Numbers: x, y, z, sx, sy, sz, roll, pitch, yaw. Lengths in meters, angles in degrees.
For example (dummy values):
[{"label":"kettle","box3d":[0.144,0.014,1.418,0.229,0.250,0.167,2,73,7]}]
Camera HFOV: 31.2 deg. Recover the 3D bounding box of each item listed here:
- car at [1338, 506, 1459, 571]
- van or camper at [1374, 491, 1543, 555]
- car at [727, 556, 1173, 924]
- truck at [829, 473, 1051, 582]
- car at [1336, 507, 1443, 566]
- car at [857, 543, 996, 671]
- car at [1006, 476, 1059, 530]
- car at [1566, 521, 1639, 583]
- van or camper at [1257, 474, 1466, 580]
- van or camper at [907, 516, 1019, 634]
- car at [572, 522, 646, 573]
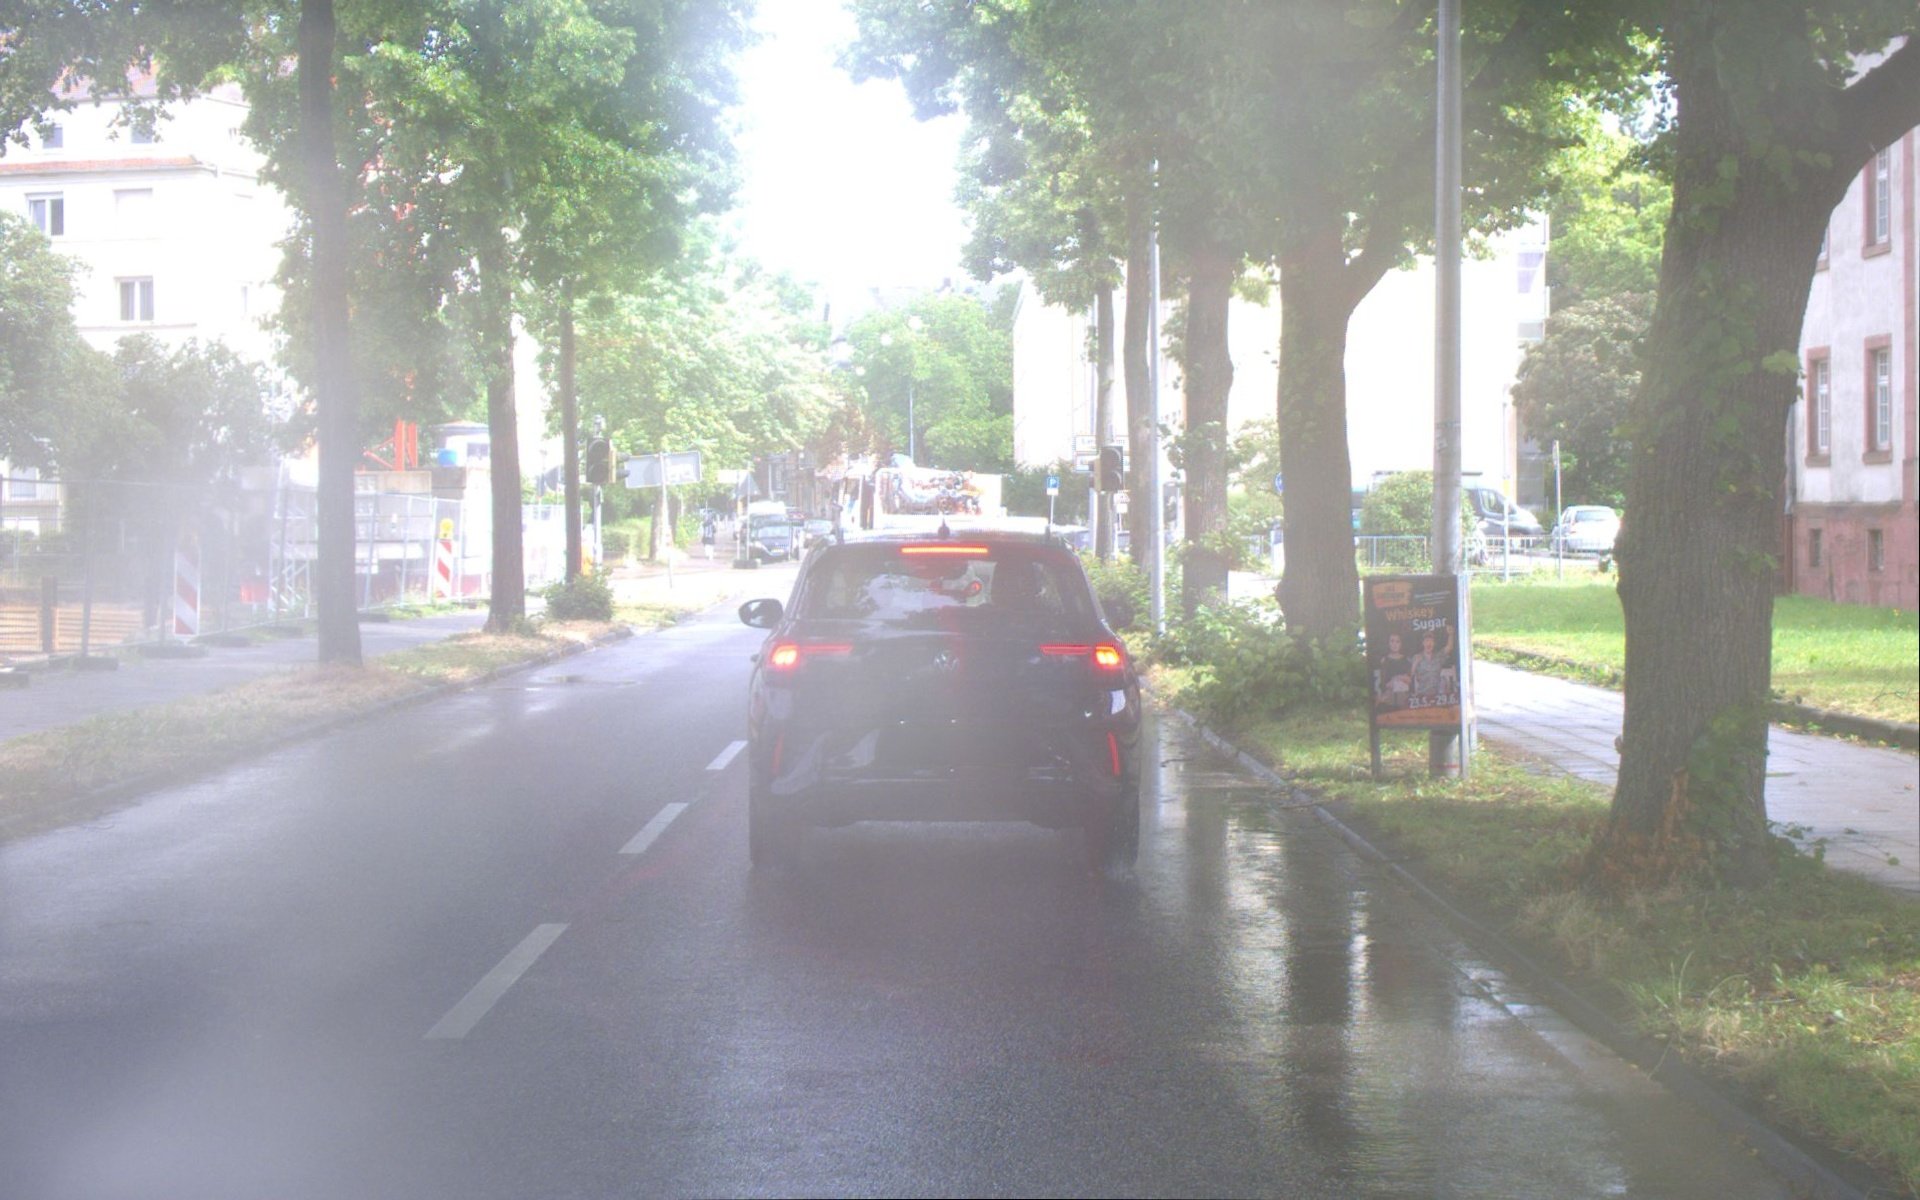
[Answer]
[{"label":"car","box3d":[12.754,-1.804,100.022,3.408,1.775,1.759,-2,1,7]},{"label":"van or camper","box3d":[15.254,-2.383,105.450,4.875,1.919,2.131,0,2,1]},{"label":"car","box3d":[-0.060,0.573,16.656,1.894,1.517,4.000,0,1,0]},{"label":"truck","box3d":[-0.623,-1.933,88.666,2.804,2.647,8.243,-1,2,-23]},{"label":"car","box3d":[14.423,-2.131,115.345,3.408,1.775,1.759,-3,1,9]},{"label":"car","box3d":[-0.443,0.071,49.597,1.680,1.702,3.909,-3,1,3]},{"label":"car","box3d":[2.812,-3.757,133.740,1.993,2.007,4.000,0,1,0]},{"label":"car","box3d":[18.909,-1.430,101.311,1.743,1.678,3.869,-3,1,6]},{"label":"van or camper","box3d":[10.233,-1.874,87.961,5.032,2.587,2.168,-1,1,-1]},{"label":"van or camper","box3d":[0.085,-0.465,59.659,1.819,1.941,4.195,0,2,1]},{"label":"car","box3d":[-11.419,-1.727,112.169,1.591,1.507,3.731,-3,1,6]}]
